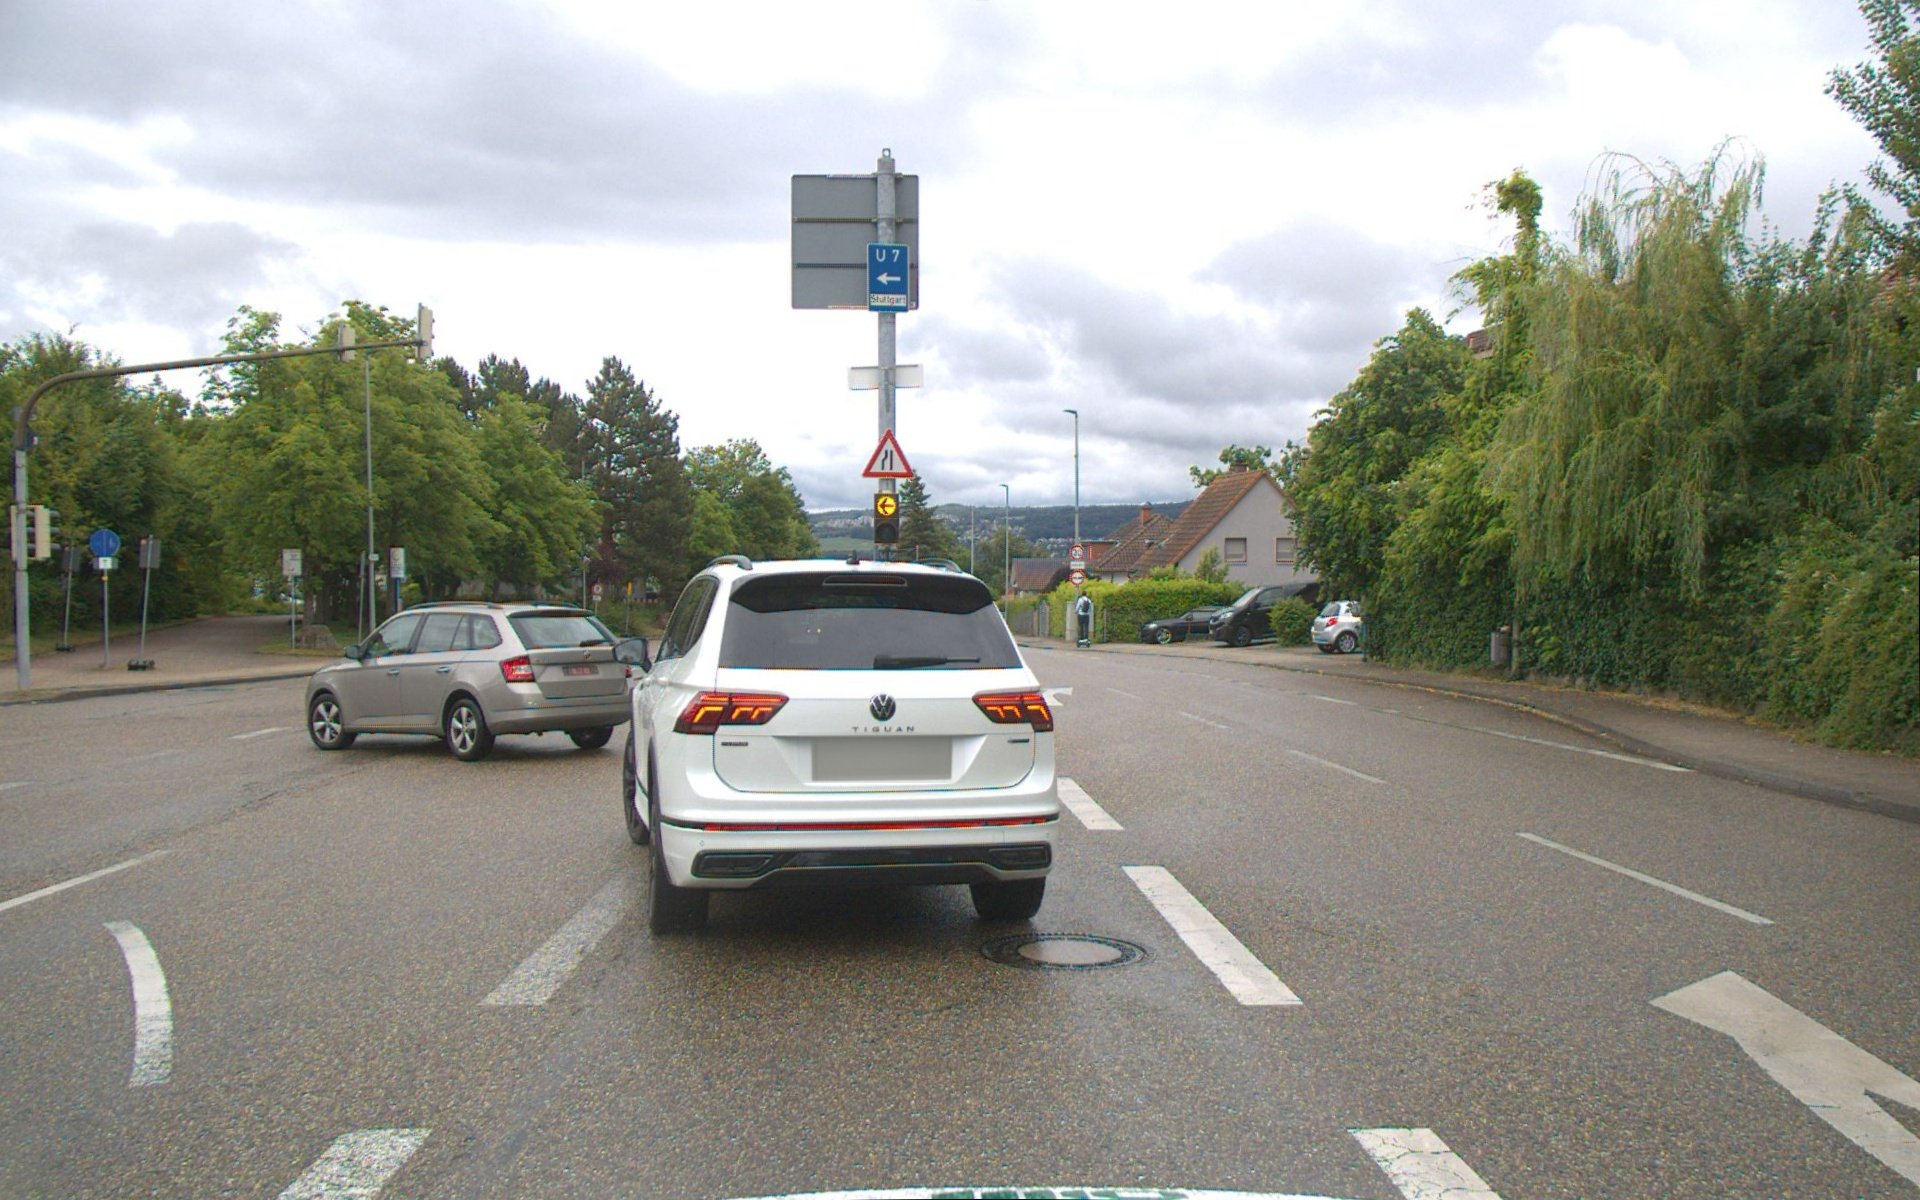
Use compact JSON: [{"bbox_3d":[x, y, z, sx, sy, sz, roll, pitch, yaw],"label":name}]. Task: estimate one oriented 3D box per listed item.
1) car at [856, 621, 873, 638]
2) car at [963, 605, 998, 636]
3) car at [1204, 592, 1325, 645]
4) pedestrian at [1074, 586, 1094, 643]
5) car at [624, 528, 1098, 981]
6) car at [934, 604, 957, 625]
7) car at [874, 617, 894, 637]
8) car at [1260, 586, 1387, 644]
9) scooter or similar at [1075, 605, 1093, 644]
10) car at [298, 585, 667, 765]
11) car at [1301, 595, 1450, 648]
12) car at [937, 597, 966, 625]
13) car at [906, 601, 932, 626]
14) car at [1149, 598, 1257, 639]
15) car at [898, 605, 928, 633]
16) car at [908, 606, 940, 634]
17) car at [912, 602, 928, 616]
[{"bbox_3d":[-10.992,3.353,190.730,1.849,1.825,3.999,0,0,-2],"label":"car"},{"bbox_3d":[1.094,1.104,91.034,1.813,1.602,3.999,1,0,-1],"label":"car"},{"bbox_3d":[9.921,0.604,54.058,3.557,1.654,1.789,1,0,-5],"label":"car"},{"bbox_3d":[4.475,0.512,59.699,0.642,2.037,0.717,0,0,-5],"label":"pedestrian"},{"bbox_3d":[-0.780,0.588,8.592,1.733,1.725,4.257,1,0,-14],"label":"car"},{"bbox_3d":[-1.211,1.164,134.337,1.813,1.602,3.999,-1,0,-1],"label":"car"},{"bbox_3d":[-7.490,2.658,163.386,1.848,1.825,3.999,0,0,-1],"label":"car"},{"bbox_3d":[11.351,0.462,51.765,3.556,1.777,1.706,0,0,-5],"label":"car"},{"bbox_3d":[4.475,0.868,59.704,0.452,1.385,1.383,0,0,-4],"label":"scooter or similar"},{"bbox_3d":[-4.925,0.672,16.839,3.853,1.617,1.795,0,0,41],"label":"car"},{"bbox_3d":[11.608,0.606,46.304,3.644,1.420,1.725,-1,-1,-9],"label":"car"},{"bbox_3d":[-0.588,0.688,109.528,1.813,1.601,4.001,1,3,-1],"label":"car"},{"bbox_3d":[-2.719,0.882,110.248,1.703,1.602,3.999,-1,0,-1],"label":"car"},{"bbox_3d":[8.629,0.651,58.876,3.614,1.394,1.518,1,-2,-3],"label":"car"},{"bbox_3d":[-2.744,1.119,97.987,1.719,1.602,3.999,-1,0,-1],"label":"car"},{"bbox_3d":[-1.960,1.076,91.085,1.631,1.452,4.304,1,0,-1],"label":"car"},{"bbox_3d":[-4.636,1.059,191.554,1.813,1.602,3.999,-1,0,-1],"label":"car"}]
